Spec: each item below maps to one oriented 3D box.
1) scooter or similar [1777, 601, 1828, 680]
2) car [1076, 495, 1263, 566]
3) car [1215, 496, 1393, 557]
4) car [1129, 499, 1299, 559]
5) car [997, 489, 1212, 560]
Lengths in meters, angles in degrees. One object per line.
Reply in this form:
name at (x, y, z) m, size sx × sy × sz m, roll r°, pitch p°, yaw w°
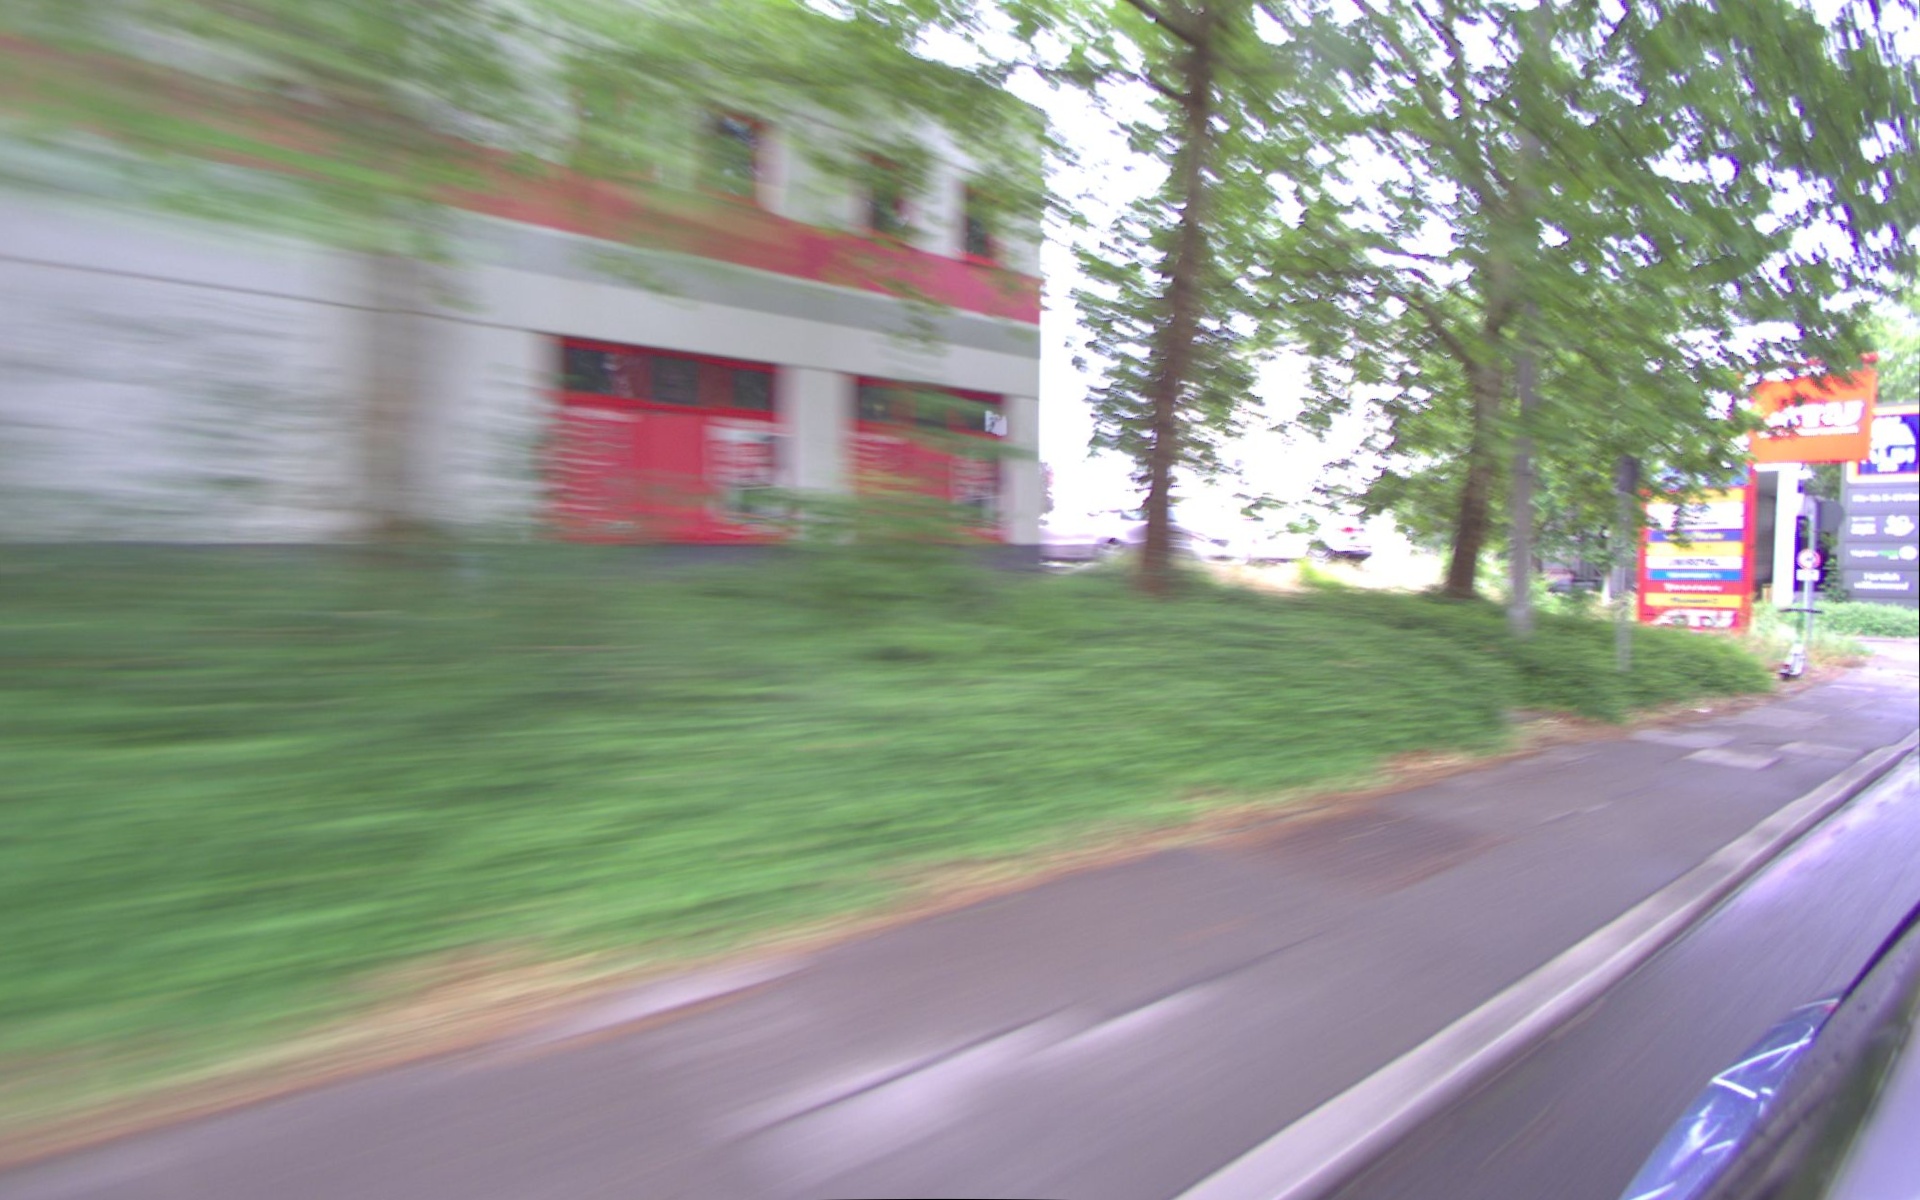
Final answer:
scooter or similar at (13.580, 0.622, 16.302) m, size 1.504 × 1.156 × 0.426 m, roll -3°, pitch 2°, yaw -43°
car at (4.863, -1.598, 23.957) m, size 1.850 × 1.485 × 4.111 m, roll 0°, pitch 3°, yaw -39°
car at (9.019, -1.872, 26.798) m, size 1.870 × 1.393 × 4.106 m, roll -1°, pitch 2°, yaw -42°
car at (6.410, -1.750, 25.830) m, size 1.801 × 1.309 × 3.926 m, roll -1°, pitch 2°, yaw -40°
car at (3.011, -1.553, 21.997) m, size 1.769 × 1.350 × 4.619 m, roll 0°, pitch 2°, yaw -40°
